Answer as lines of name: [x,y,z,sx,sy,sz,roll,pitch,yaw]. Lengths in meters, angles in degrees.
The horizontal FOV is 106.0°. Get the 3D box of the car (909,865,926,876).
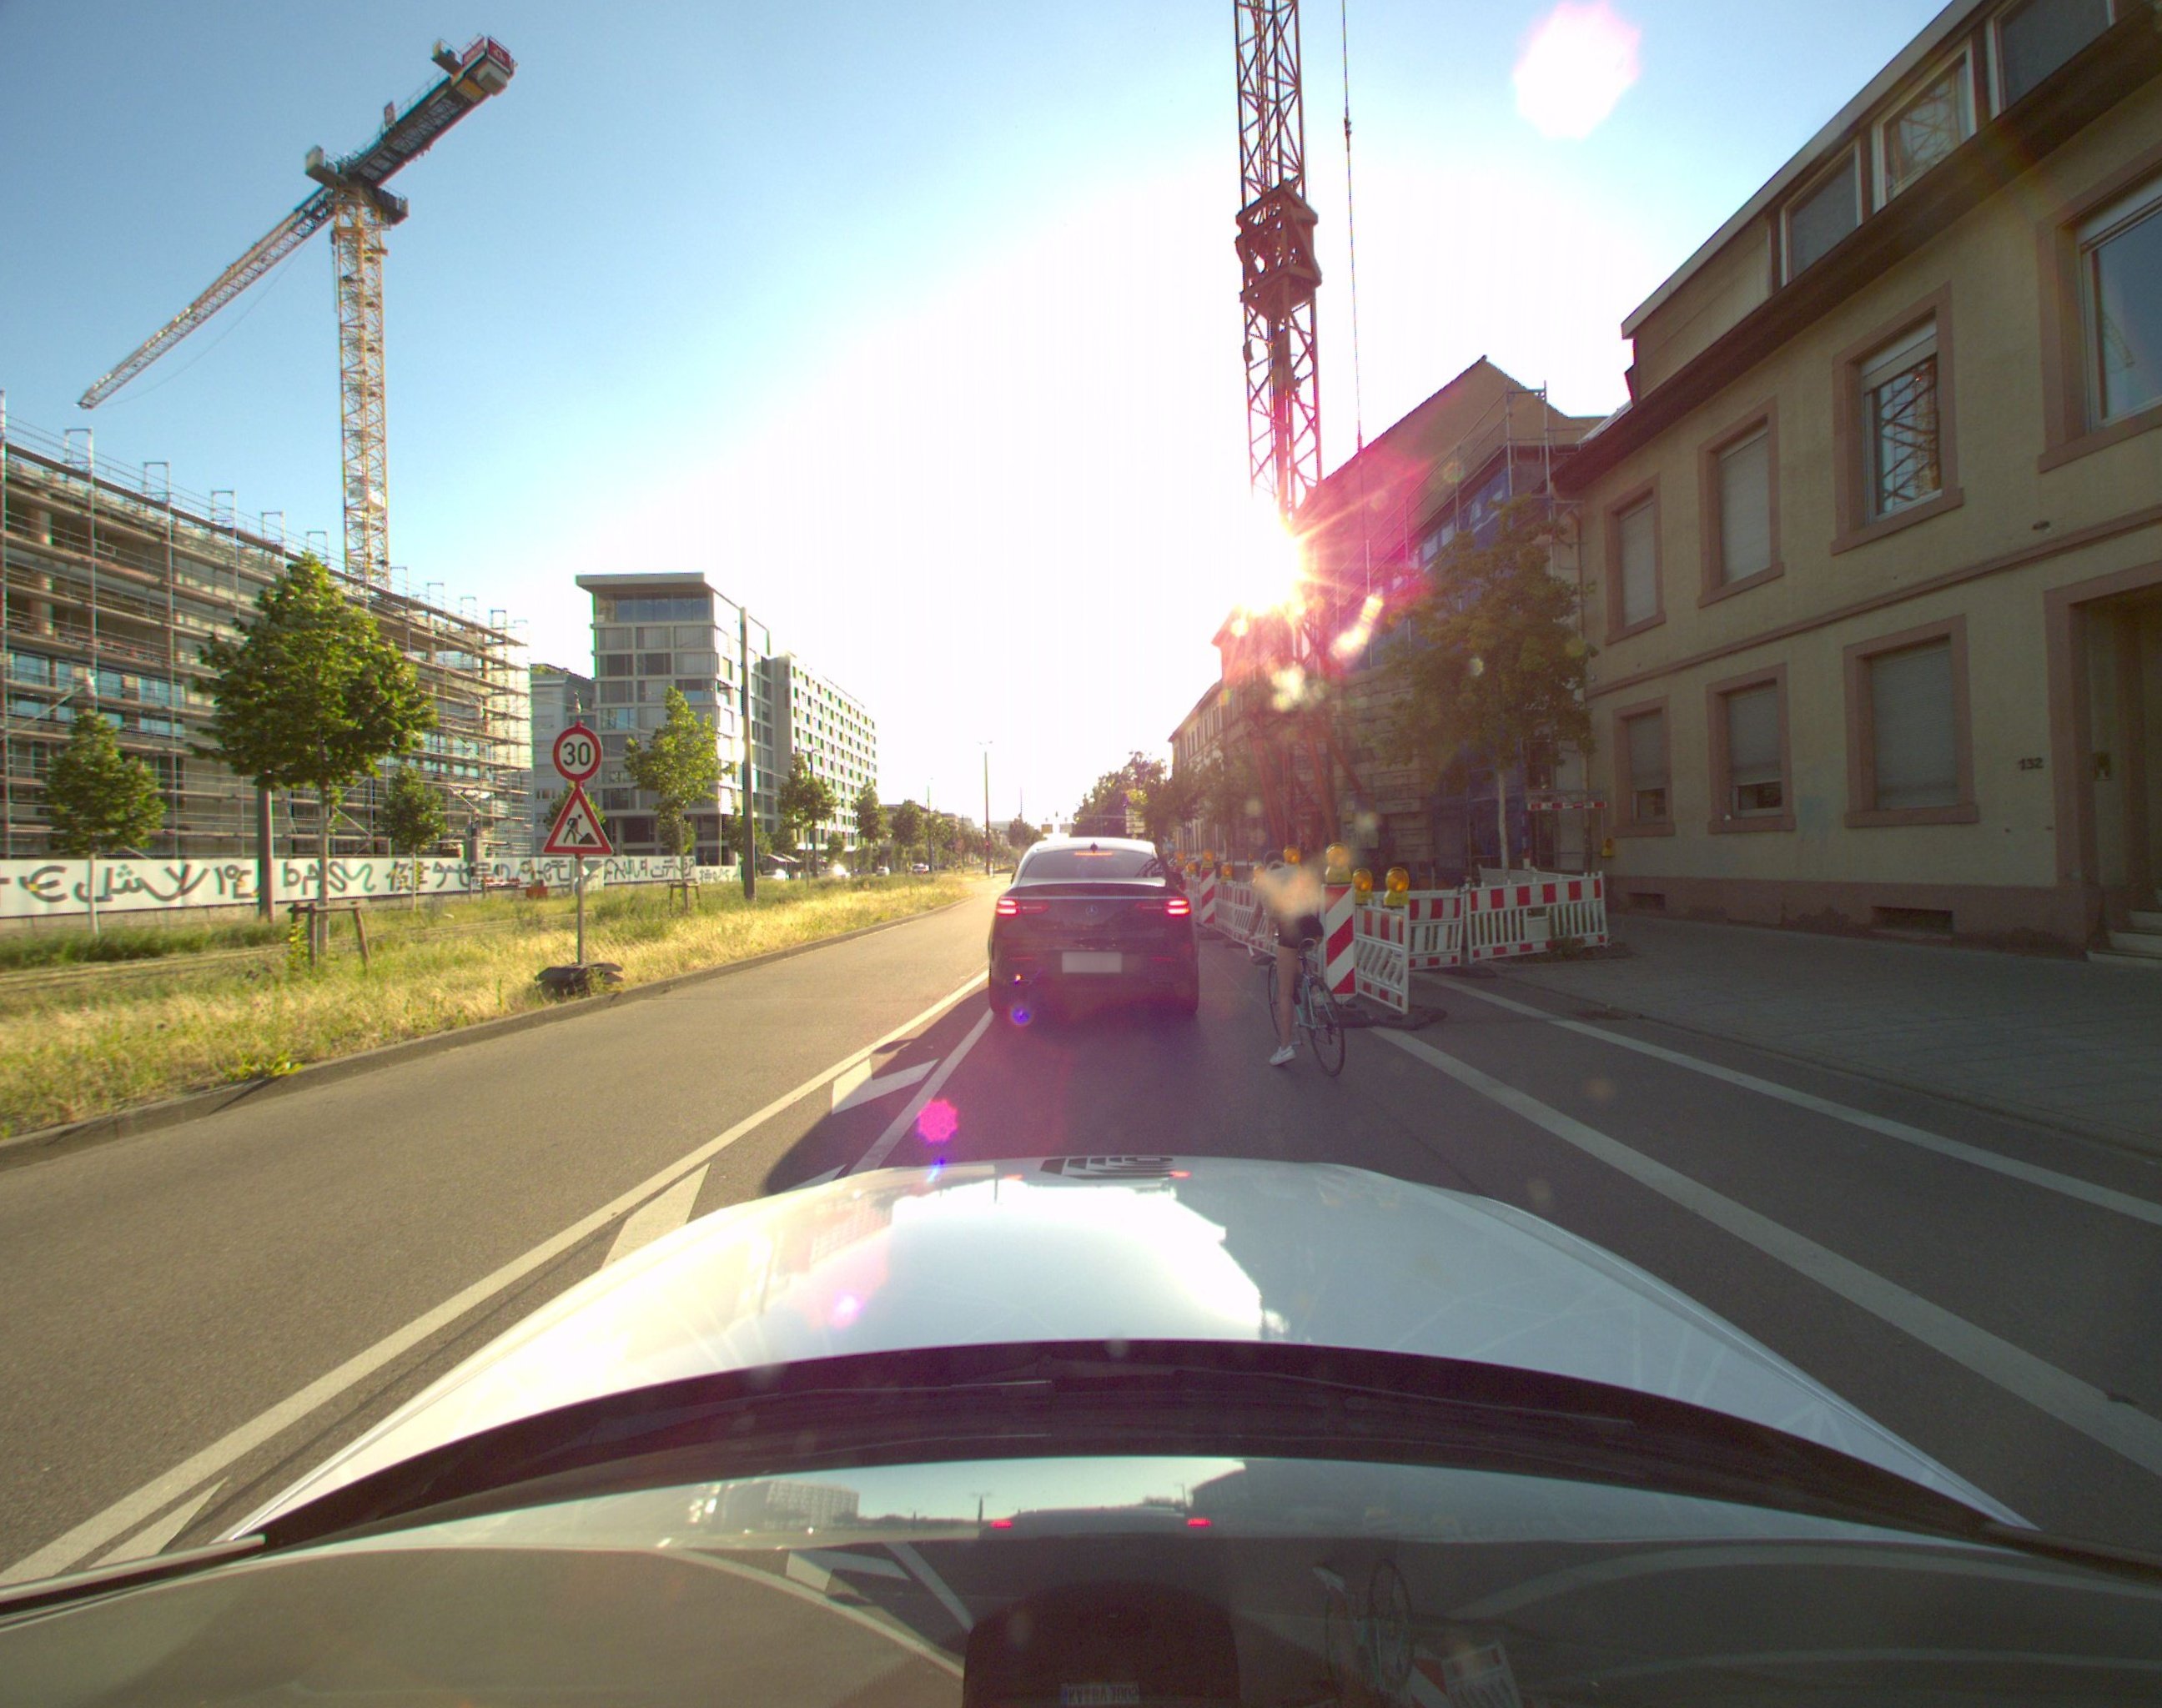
car: [-25.736,2.625,128.330,1.782,1.684,3.643,0,-1,5]

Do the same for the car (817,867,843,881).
car: [-26.600,2.129,86.330,1.703,1.442,3.581,0,-1,0]

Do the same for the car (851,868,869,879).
car: [-32.179,2.810,118.555,1.703,1.442,3.581,0,-1,0]

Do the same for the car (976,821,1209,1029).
car: [0.159,0.623,8.981,1.986,1.772,4.001,0,-1,2]

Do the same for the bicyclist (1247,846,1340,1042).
bicyclist: [1.585,0.647,6.141,0.521,1.395,0.614,0,-1,-1]

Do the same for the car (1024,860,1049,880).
car: [-3.304,1.188,60.666,1.703,1.442,3.581,0,-1,0]

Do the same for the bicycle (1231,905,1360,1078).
bicycle: [1.591,0.969,6.286,0.511,1.052,1.724,0,-1,-1]

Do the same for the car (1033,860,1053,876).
car: [-3.542,1.319,77.047,1.703,1.442,3.581,0,-1,0]

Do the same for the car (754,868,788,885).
car: [-28.610,2.056,75.263,1.703,1.442,3.581,0,-1,0]

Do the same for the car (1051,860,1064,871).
car: [-3.314,1.630,116.313,1.703,1.442,3.581,0,-1,0]

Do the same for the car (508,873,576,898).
car: [-32.555,1.879,49.313,1.703,1.442,3.581,0,-1,0]

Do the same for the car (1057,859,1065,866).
car: [-4.558,1.894,184.311,1.703,1.442,3.581,0,-1,0]

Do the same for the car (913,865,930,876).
car: [-22.592,2.332,115.533,1.703,1.442,3.581,0,-1,0]
